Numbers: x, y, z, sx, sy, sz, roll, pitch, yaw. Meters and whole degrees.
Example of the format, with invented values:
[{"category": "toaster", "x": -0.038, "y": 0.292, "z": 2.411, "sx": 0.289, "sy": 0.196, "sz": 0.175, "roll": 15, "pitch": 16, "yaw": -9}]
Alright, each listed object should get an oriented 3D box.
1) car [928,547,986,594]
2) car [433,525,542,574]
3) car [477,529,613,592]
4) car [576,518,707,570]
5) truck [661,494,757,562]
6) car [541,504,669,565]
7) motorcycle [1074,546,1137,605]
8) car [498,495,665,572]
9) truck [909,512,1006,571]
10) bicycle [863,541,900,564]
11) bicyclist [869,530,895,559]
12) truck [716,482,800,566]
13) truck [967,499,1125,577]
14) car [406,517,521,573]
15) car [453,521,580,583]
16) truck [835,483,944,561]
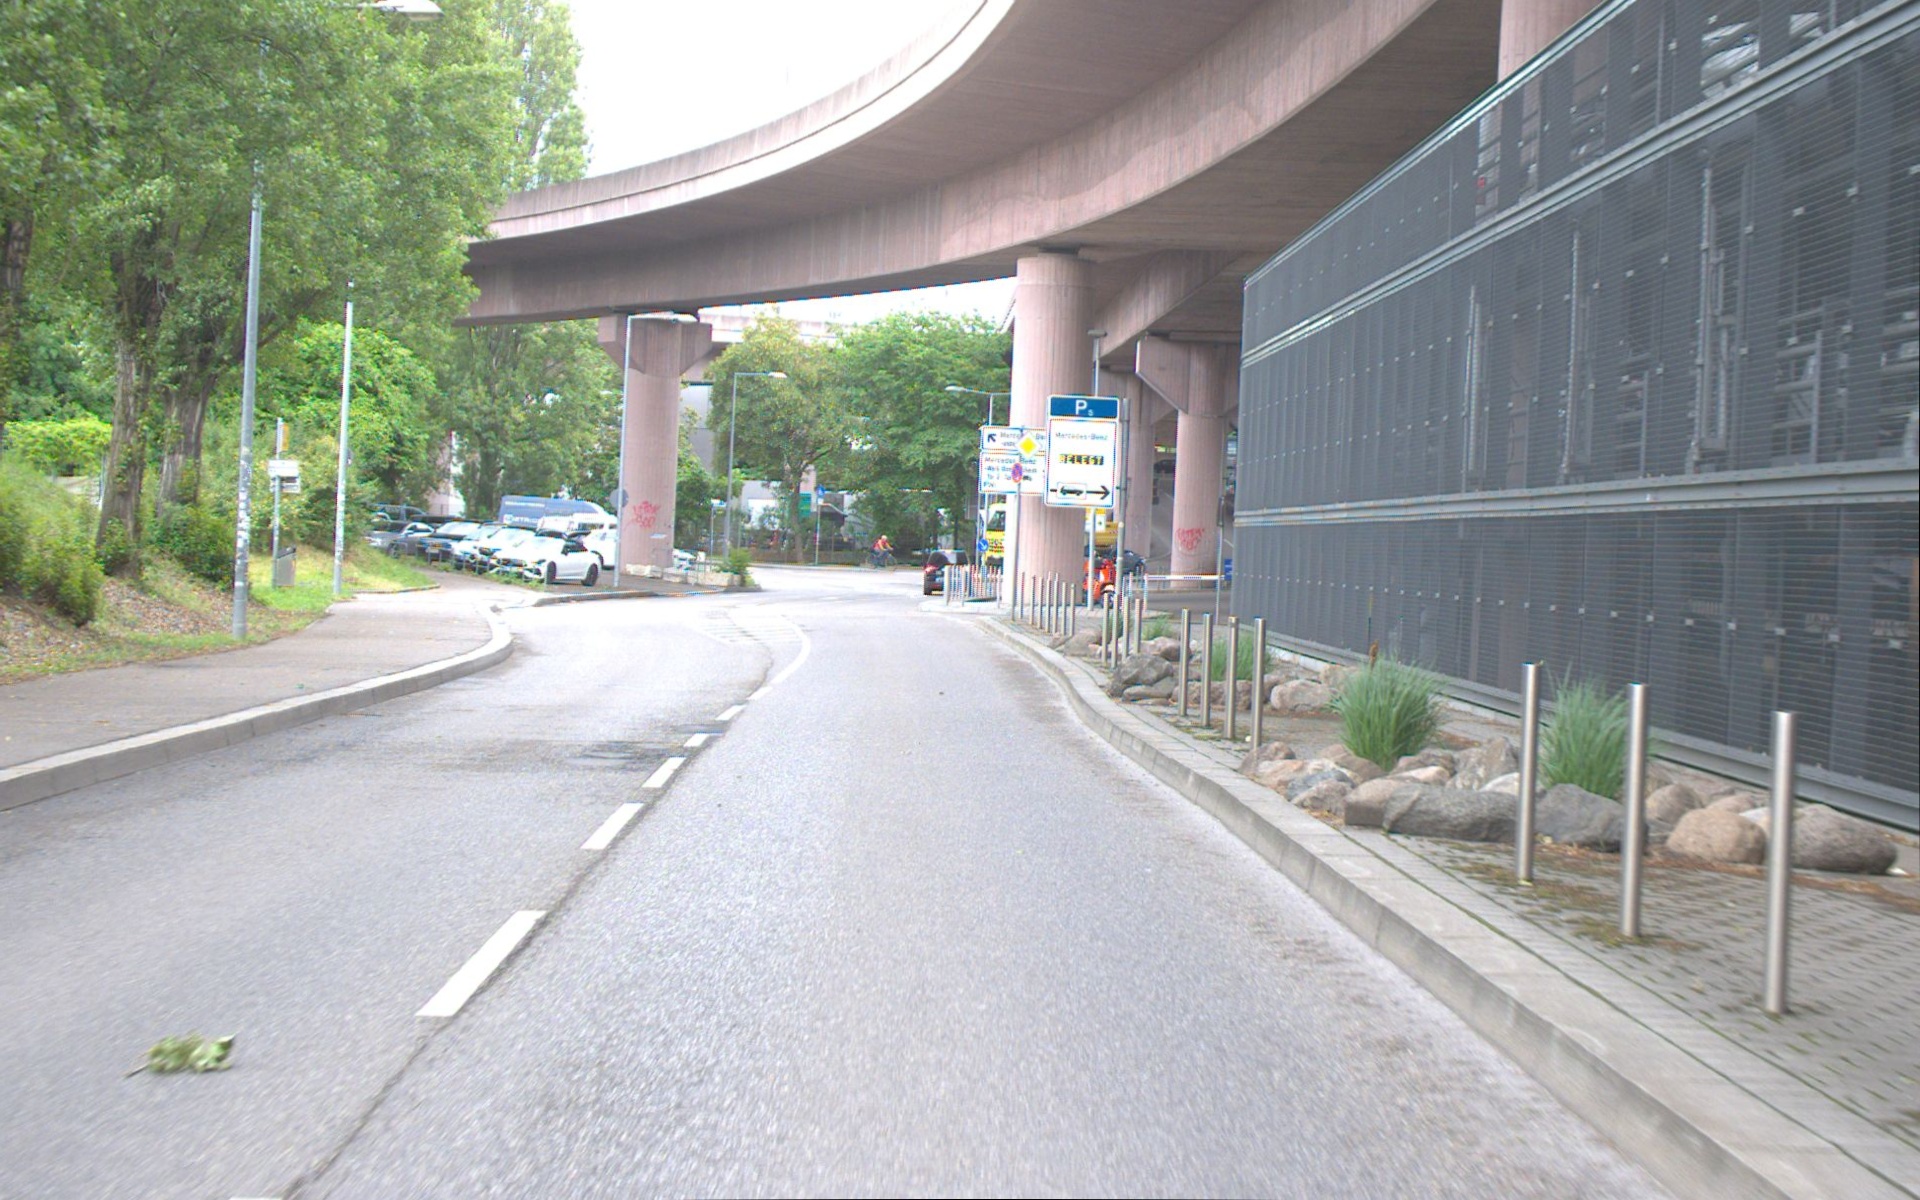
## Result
[{"category": "car", "x": -0.140, "y": -1.111, "z": 129.867, "sx": 1.993, "sy": 1.673, "sz": 4.561, "roll": 2, "pitch": 1, "yaw": -2}, {"category": "car", "x": -15.282, "y": -1.612, "z": 111.332, "sx": 1.789, "sy": 1.449, "sz": 3.742, "roll": 3, "pitch": 1, "yaw": 23}, {"category": "car", "x": -12.502, "y": -1.169, "z": 103.918, "sx": 1.996, "sy": 1.474, "sz": 4.823, "roll": 6, "pitch": 0, "yaw": 20}, {"category": "car", "x": -11.897, "y": -2.090, "z": 128.632, "sx": 4.383, "sy": 1.600, "sz": 1.953, "roll": 5, "pitch": 1, "yaw": 12}, {"category": "truck", "x": -14.921, "y": -4.298, "z": 203.699, "sx": 3.054, "sy": 3.606, "sz": 7.918, "roll": 1, "pitch": 3, "yaw": -24}, {"category": "car", "x": -13.851, "y": -2.554, "z": 134.365, "sx": 4.557, "sy": 2.104, "sz": 1.850, "roll": 3, "pitch": 1, "yaw": 8}, {"category": "motorcycle", "x": 3.521, "y": -0.599, "z": 83.406, "sx": 0.795, "sy": 1.362, "sz": 2.130, "roll": 1, "pitch": 2, "yaw": -18}, {"category": "car", "x": -15.076, "y": -2.661, "z": 137.178, "sx": 6.176, "sy": 2.715, "sz": 2.368, "roll": 3, "pitch": 1, "yaw": 3}, {"category": "truck", "x": -0.178, "y": -3.165, "z": 184.597, "sx": 2.914, "sy": 2.889, "sz": 6.561, "roll": 1, "pitch": 3, "yaw": -22}, {"category": "bicycle", "x": -3.778, "y": -2.297, "z": 165.759, "sx": 0.802, "sy": 1.094, "sz": 2.131, "roll": 0, "pitch": 1, "yaw": -32}, {"category": "bicyclist", "x": -3.756, "y": -2.671, "z": 165.744, "sx": 0.796, "sy": 1.400, "sz": 1.066, "roll": 0, "pitch": 1, "yaw": -32}, {"category": "truck", "x": -12.243, "y": -4.620, "z": 207.430, "sx": 3.202, "sy": 4.763, "sz": 8.052, "roll": 1, "pitch": 3, "yaw": -17}, {"category": "truck", "x": 4.218, "y": -3.041, "z": 166.164, "sx": 2.934, "sy": 3.469, "sz": 8.226, "roll": 7, "pitch": 6, "yaw": 40}, {"category": "car", "x": -16.546, "y": -1.829, "z": 114.685, "sx": 1.859, "sy": 1.685, "sz": 4.159, "roll": 3, "pitch": 1, "yaw": 23}, {"category": "car", "x": -13.879, "y": -1.481, "z": 107.779, "sx": 1.996, "sy": 1.577, "sz": 4.395, "roll": 7, "pitch": 1, "yaw": 20}, {"category": "truck", "x": -3.805, "y": -4.180, "z": 183.259, "sx": 3.065, "sy": 3.854, "sz": 8.051, "roll": 1, "pitch": 3, "yaw": -22}]
